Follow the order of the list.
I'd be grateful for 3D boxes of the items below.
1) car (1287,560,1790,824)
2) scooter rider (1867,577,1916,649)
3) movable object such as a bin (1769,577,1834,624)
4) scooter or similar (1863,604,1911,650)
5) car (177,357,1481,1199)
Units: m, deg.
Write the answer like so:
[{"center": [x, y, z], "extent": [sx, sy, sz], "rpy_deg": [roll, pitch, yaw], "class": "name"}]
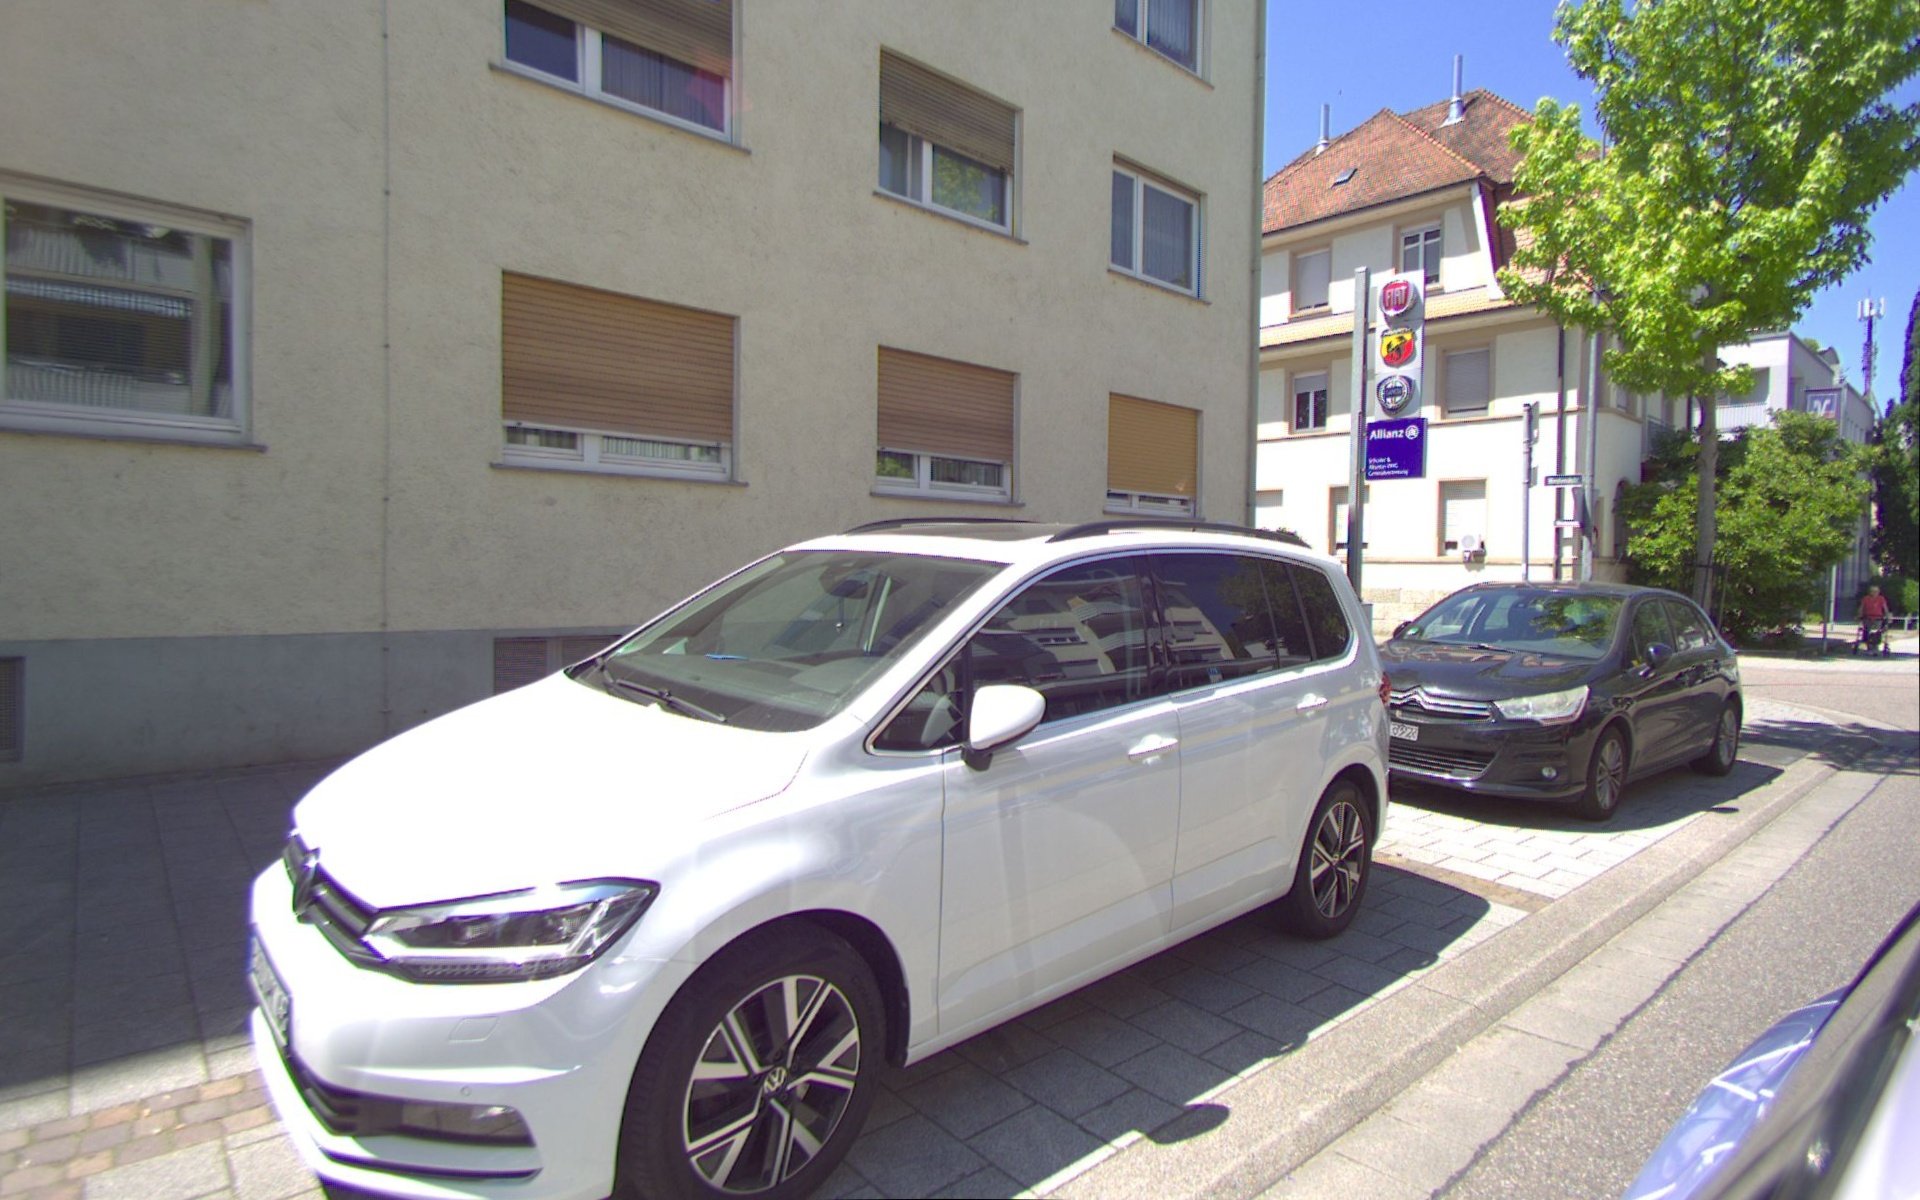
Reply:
[{"center": [4.614, 0.471, 7.777], "extent": [4.463, 1.456, 1.900], "rpy_deg": [0, 2, -40], "class": "car"}, {"center": [21.202, 0.284, 23.037], "extent": [0.757, 1.567, 0.717], "rpy_deg": [0, 2, -43], "class": "scooter rider"}, {"center": [28.302, -0.002, 34.056], "extent": [1.356, 1.476, 1.372], "rpy_deg": [0, 5, -39], "class": "movable object such as a bin"}, {"center": [20.706, 0.593, 22.606], "extent": [0.741, 0.974, 0.664], "rpy_deg": [0, 3, -42], "class": "scooter or similar"}, {"center": [0.076, 0.421, 3.799], "extent": [4.613, 1.695, 1.898], "rpy_deg": [0, 3, -44], "class": "car"}]
